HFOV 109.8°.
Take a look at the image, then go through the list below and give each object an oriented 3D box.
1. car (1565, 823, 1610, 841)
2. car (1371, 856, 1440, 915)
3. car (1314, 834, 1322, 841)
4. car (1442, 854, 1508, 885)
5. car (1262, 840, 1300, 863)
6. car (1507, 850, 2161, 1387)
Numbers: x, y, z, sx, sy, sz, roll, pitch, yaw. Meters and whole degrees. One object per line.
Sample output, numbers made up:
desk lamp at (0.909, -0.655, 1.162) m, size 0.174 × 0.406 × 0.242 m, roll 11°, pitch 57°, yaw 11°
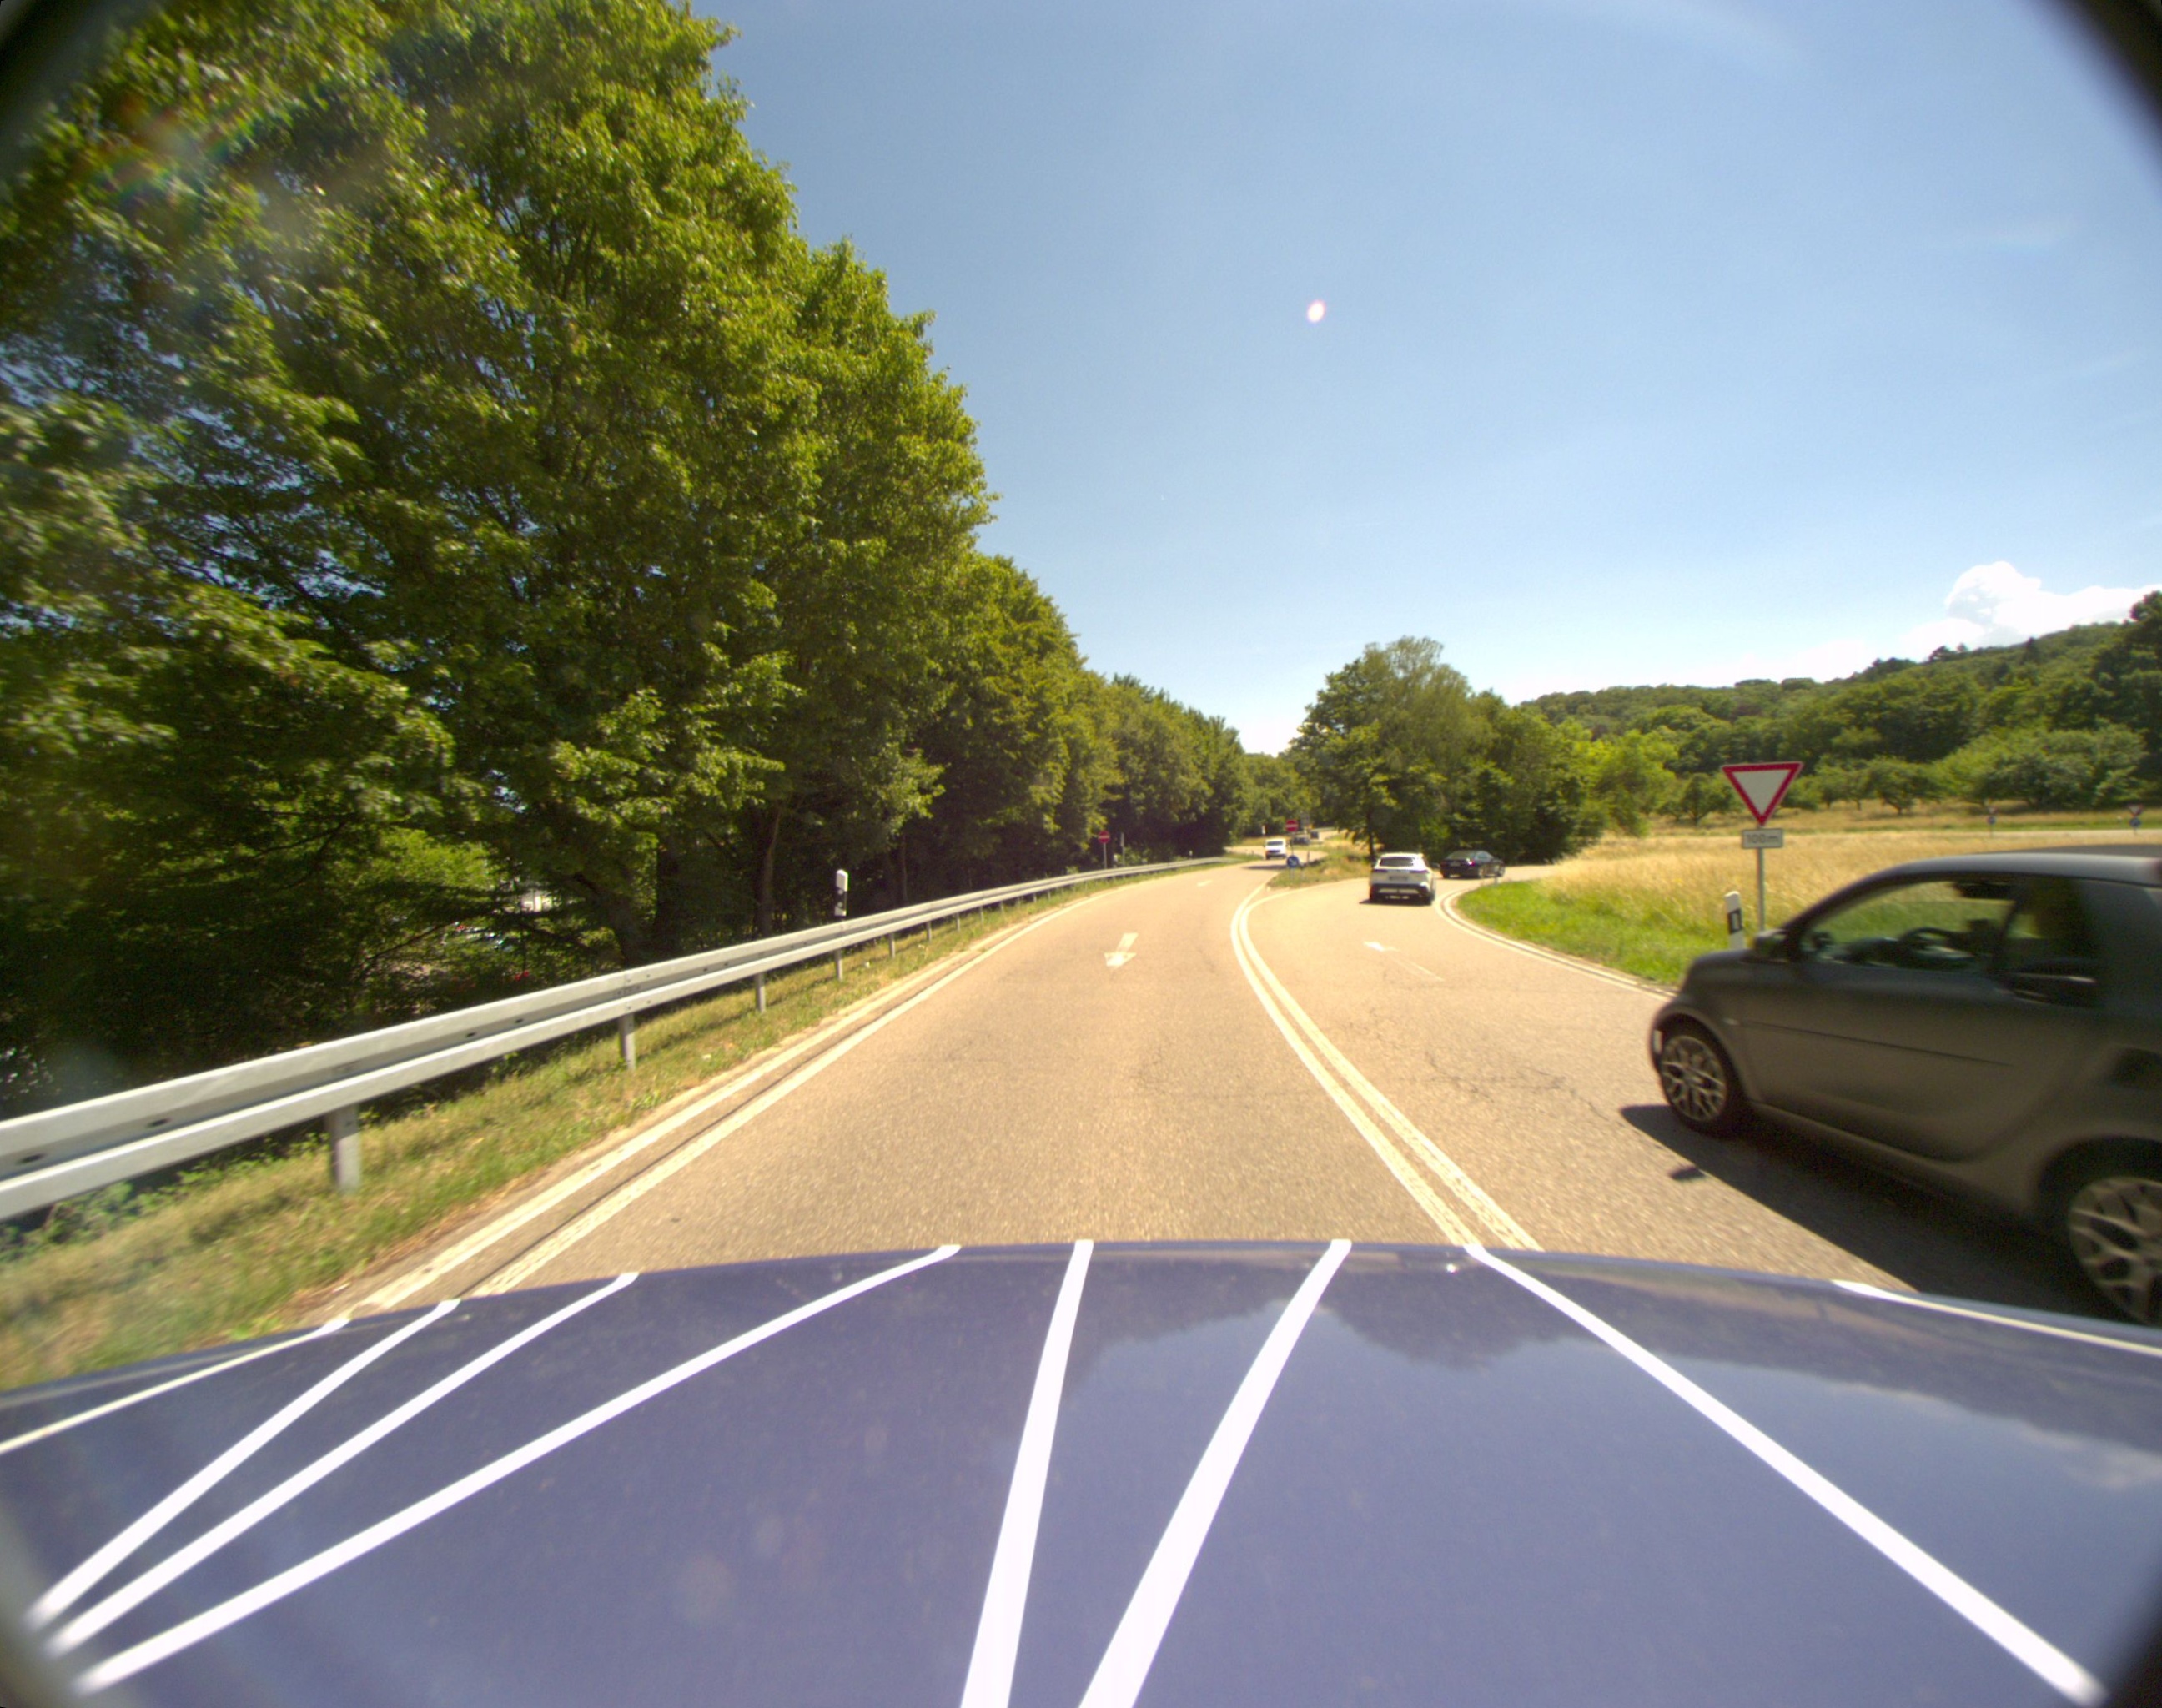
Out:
car at (59.815, -2.630, 89.698) m, size 2.003 × 2.003 × 3.988 m, roll -5°, pitch 4°, yaw -39°
car at (10.491, 0.921, 24.463) m, size 1.823 × 1.581 × 4.225 m, roll 3°, pitch 2°, yaw 25°
car at (45.087, -3.136, 144.537) m, size 1.468 × 1.320 × 2.964 m, roll -2°, pitch 3°, yaw 19°
car at (20.731, 0.747, 39.930) m, size 1.802 × 1.498 × 4.668 m, roll 2°, pitch 1°, yaw 44°
car at (20.013, -0.272, 75.853) m, size 2.220 × 2.021 × 5.437 m, roll -3°, pitch 0°, yaw 30°
car at (4.028, 0.773, 3.614) m, size 1.739 × 1.498 × 4.073 m, roll -3°, pitch 0°, yaw 1°
